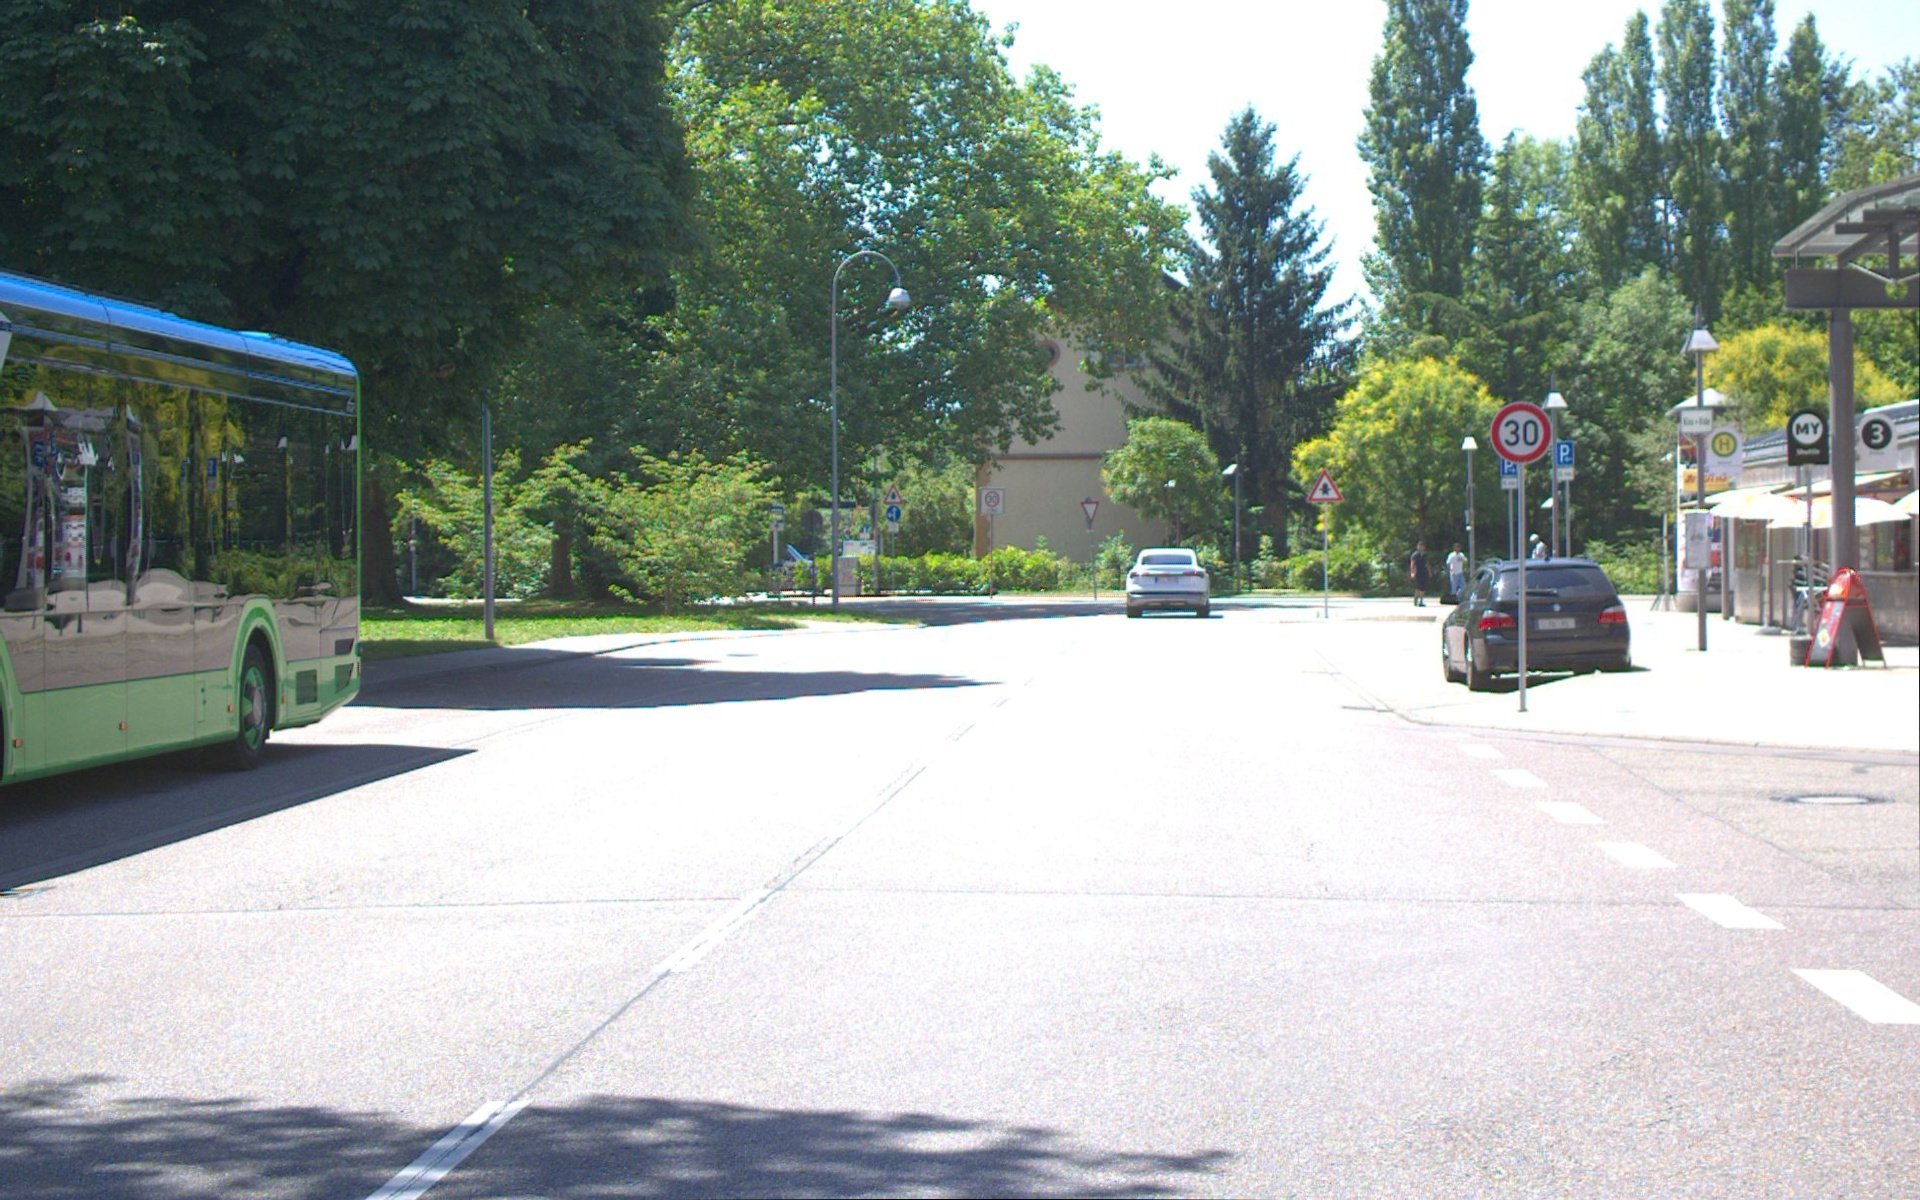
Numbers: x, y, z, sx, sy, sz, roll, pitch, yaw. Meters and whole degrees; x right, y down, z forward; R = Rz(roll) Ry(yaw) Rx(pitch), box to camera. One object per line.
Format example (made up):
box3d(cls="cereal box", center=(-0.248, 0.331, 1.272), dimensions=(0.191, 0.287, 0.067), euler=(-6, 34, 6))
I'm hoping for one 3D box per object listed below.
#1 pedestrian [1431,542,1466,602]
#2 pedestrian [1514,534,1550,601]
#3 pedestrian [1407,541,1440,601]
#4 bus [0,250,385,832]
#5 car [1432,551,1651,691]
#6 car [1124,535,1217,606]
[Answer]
box3d(cls="pedestrian", center=(13.792, -0.788, 97.010), dimensions=(0.721, 1.644, 0.749), euler=(0, -1, 32))
box3d(cls="pedestrian", center=(16.646, -0.952, 100.046), dimensions=(0.854, 1.959, 0.806), euler=(0, 1, -6))
box3d(cls="pedestrian", center=(12.894, -0.816, 95.716), dimensions=(0.636, 1.644, 0.749), euler=(0, -1, 32))
box3d(cls="bus", center=(-6.605, -0.396, 22.722), dimensions=(2.809, 3.271, 12.424), euler=(0, 1, 3))
box3d(cls="car", center=(6.742, 0.198, 40.336), dimensions=(1.927, 1.455, 4.725), euler=(-3, 1, 3))
box3d(cls="car", center=(5.059, -0.732, 82.215), dimensions=(1.983, 1.621, 4.777), euler=(0, 1, 6))
